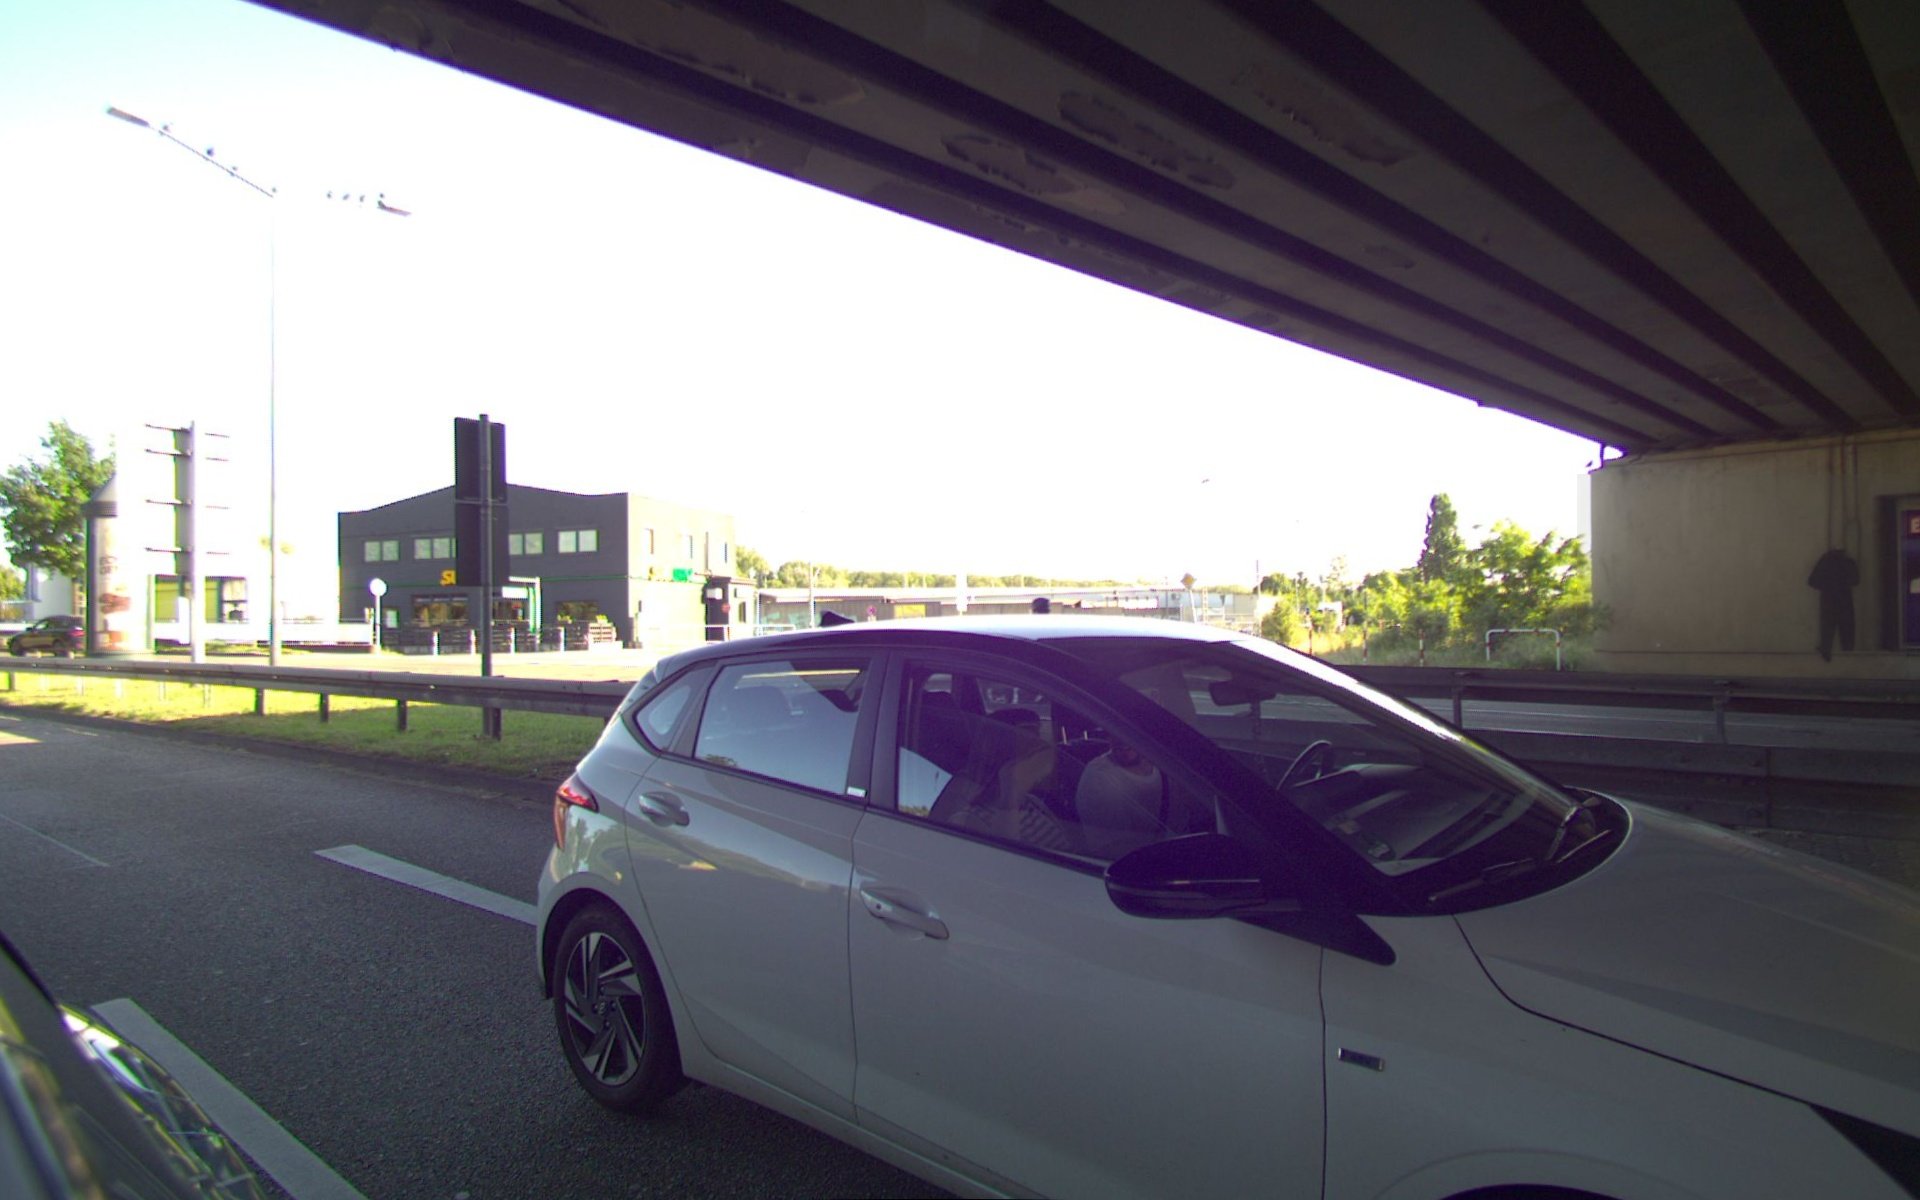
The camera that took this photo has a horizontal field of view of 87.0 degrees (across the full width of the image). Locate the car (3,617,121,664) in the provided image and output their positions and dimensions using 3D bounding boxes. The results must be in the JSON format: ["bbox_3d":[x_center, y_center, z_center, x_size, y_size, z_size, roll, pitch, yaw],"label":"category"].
[{"bbox_3d":[-34.111,1.516,38.416,4.341,1.629,1.841,-1,0,26],"label":"car"}]

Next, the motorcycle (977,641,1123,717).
[{"bbox_3d":[1.306,1.142,14.628,1.990,1.035,0.691,-2,-1,15],"label":"motorcycle"}]

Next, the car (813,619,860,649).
[{"bbox_3d":[-6.674,1.833,55.009,1.858,1.453,3.996,-1,0,3],"label":"car"}]

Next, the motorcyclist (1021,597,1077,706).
[{"bbox_3d":[1.297,0.734,14.638,0.691,1.539,0.695,-1,-1,15],"label":"motorcyclist"}]

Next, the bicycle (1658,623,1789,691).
[{"bbox_3d":[14.081,1.021,18.694,1.877,1.174,0.627,-1,0,41],"label":"bicycle"}]

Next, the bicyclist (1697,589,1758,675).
[{"bbox_3d":[14.141,0.583,18.642,0.836,1.536,0.621,-1,0,41],"label":"bicyclist"}]

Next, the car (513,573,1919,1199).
[{"bbox_3d":[0.576,0.707,2.671,3.868,1.414,1.715,-1,-1,40],"label":"car"}]
